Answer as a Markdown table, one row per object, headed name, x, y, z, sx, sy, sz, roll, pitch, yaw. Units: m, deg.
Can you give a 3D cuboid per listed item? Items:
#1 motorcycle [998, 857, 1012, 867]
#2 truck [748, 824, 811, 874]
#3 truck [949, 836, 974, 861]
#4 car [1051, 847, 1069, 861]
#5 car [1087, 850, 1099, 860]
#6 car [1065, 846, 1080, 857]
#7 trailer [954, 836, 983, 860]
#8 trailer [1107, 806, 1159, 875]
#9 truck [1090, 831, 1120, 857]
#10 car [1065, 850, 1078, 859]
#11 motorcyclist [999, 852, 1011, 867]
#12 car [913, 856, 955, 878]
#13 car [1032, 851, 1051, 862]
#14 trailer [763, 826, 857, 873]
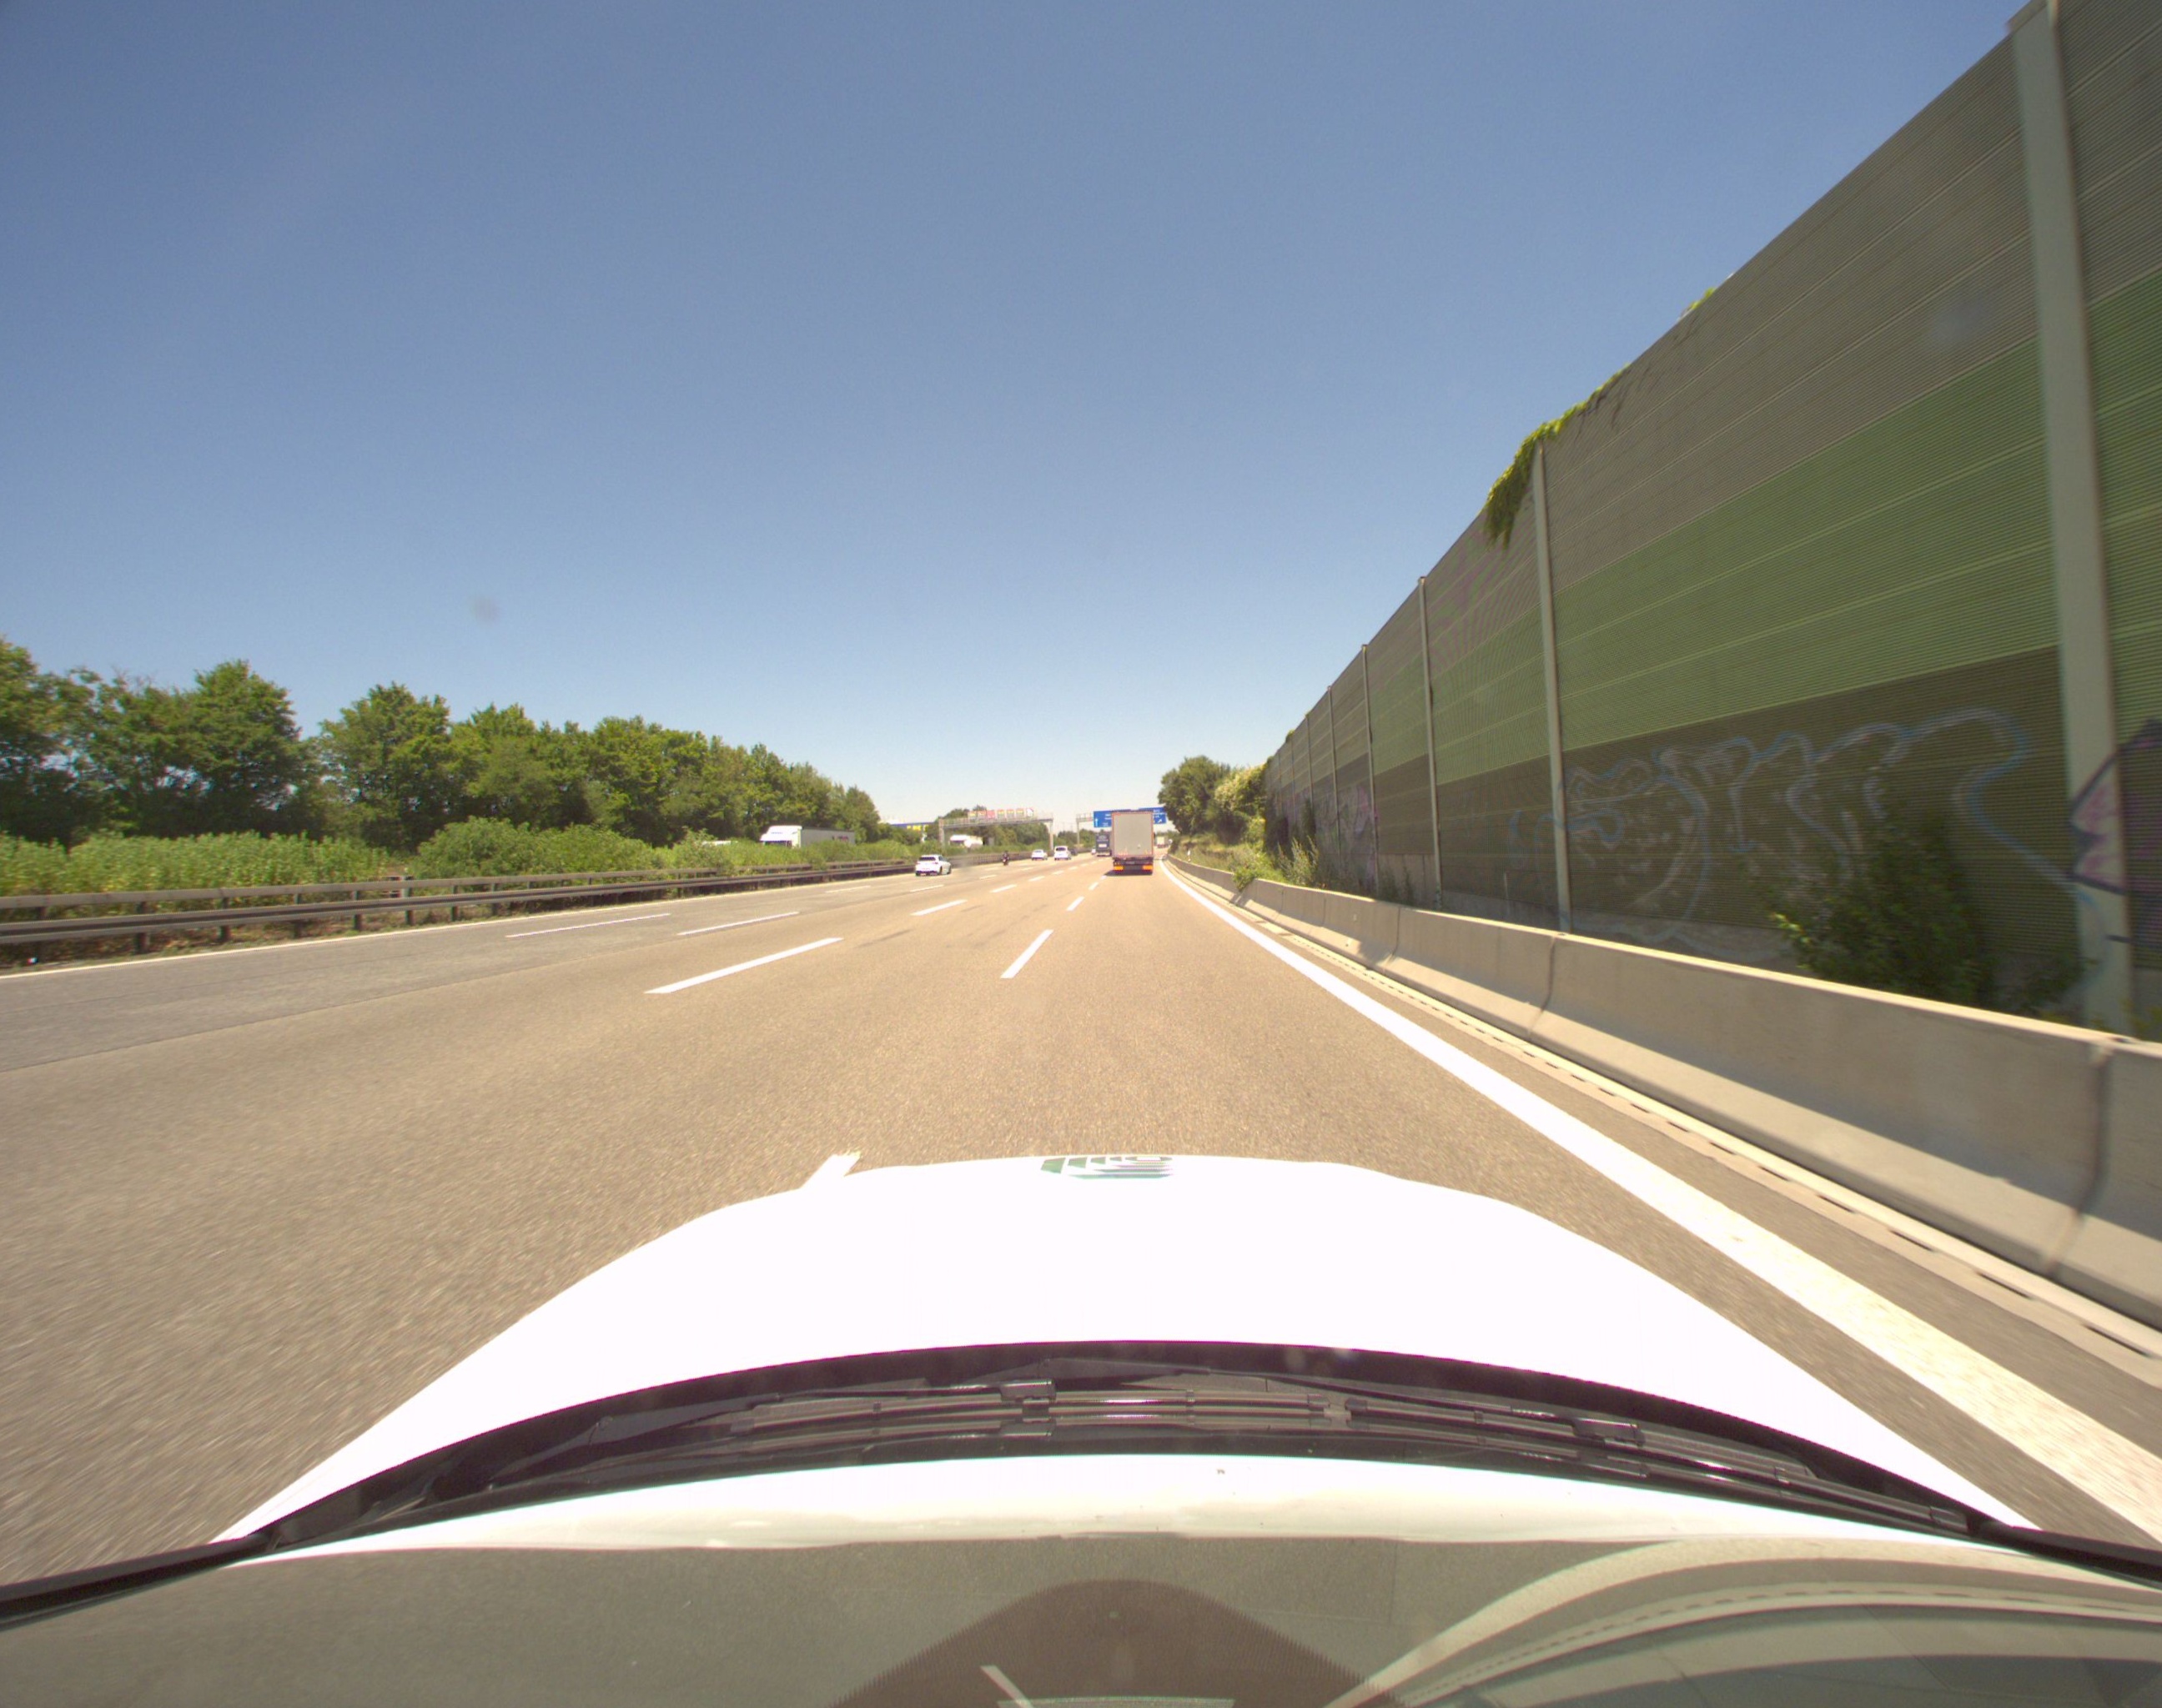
| name | x | y | z | sx | sy | sz | roll | pitch | yaw |
| --- | --- | --- | --- | --- | --- | --- | --- | --- | --- |
| motorcycle | -8.002 | 0.831 | 85.832 | 0.908 | 1.089 | 2.855 | -2 | -1 | 7 |
| truck | -26.001 | -0.405 | 70.533 | 3.318 | 4.090 | 4.833 | -1 | 0 | 4 |
| truck | -19.430 | -0.939 | 132.833 | 2.682 | 3.888 | 5.754 | -1 | 0 | 5 |
| car | -2.853 | -0.019 | 111.594 | 1.921 | 1.851 | 4.698 | -2 | 0 | 5 |
| car | 2.467 | 0.192 | 161.928 | 1.895 | 1.851 | 4.638 | -2 | 0 | 6 |
| car | -1.335 | -0.421 | 137.828 | 1.867 | 1.806 | 5.135 | -1 | -1 | 7 |
| trailer | -18.981 | -0.982 | 137.759 | 2.677 | 3.888 | 9.748 | -1 | 0 | 5 |
| trailer | 3.694 | -0.765 | 54.793 | 2.913 | 4.015 | 12.057 | -2 | 0 | 6 |
| truck | 4.323 | -1.789 | 141.889 | 3.727 | 4.270 | 14.524 | -1 | 1 | 7 |
| car | -1.692 | 0.107 | 147.535 | 1.748 | 1.409 | 5.048 | -2 | -2 | 6 |
| motorcyclist | -8.019 | 0.570 | 85.780 | 0.888 | 1.597 | 1.302 | -2 | -1 | 7 |
| car | -10.360 | 0.877 | 57.698 | 1.774 | 1.440 | 4.674 | -1 | 0 | 4 |
| car | -5.533 | 0.380 | 114.080 | 1.867 | 1.440 | 5.134 | -1 | -1 | 6 |
| trailer | -25.552 | -0.398 | 77.946 | 3.377 | 4.089 | 13.941 | -1 | 0 | 4 |
